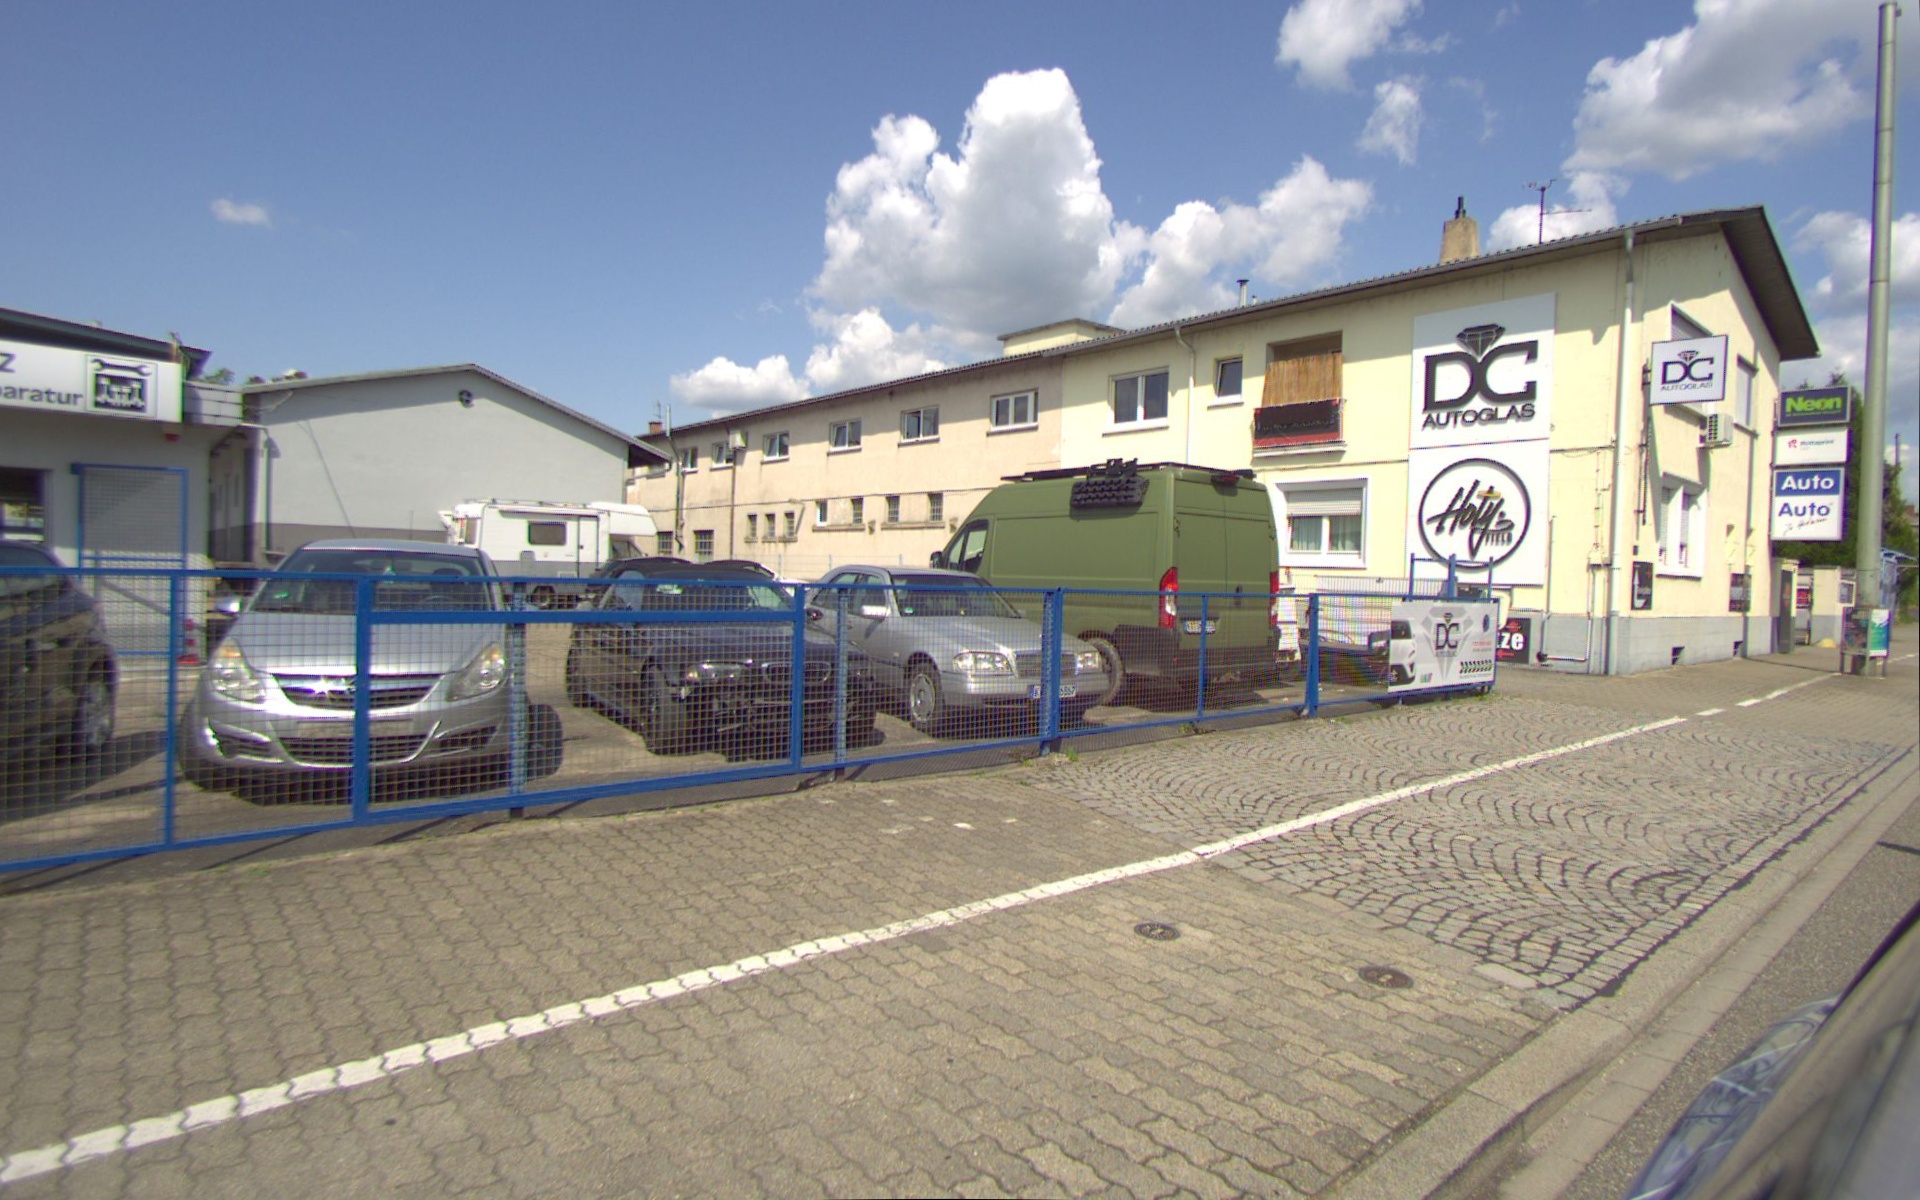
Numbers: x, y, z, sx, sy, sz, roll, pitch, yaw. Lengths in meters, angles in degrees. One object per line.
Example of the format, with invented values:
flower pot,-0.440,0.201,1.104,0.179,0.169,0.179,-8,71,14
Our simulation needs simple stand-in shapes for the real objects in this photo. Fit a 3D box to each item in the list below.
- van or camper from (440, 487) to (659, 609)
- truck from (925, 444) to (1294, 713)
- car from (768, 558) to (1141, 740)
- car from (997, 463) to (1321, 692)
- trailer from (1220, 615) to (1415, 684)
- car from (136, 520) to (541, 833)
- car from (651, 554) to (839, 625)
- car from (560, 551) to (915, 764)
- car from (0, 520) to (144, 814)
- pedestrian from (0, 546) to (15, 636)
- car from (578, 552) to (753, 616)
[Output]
van or camper,-11.009,-1.324,27.361,4.971,2.999,2.284,0,2,-42
truck,1.628,-0.285,12.144,2.033,2.639,3.996,1,2,-40
car,-0.298,0.319,10.198,1.768,1.413,4.216,1,2,-33
car,2.610,-0.346,14.135,1.771,2.702,4.208,1,2,-40
trailer,5.080,0.670,14.521,1.245,0.776,2.330,0,2,-39
car,-3.953,0.301,7.095,1.766,1.497,4.158,1,2,-24
car,-4.938,-0.247,23.524,3.939,1.497,1.719,0,2,-41
car,-2.127,0.310,8.739,1.768,1.403,3.837,1,2,-32
car,-5.749,0.323,5.027,1.685,1.497,4.012,1,2,-25
pedestrian,-13.260,-0.129,13.834,0.479,1.228,0.501,1,1,-42
car,-7.481,-0.411,25.882,3.939,1.497,1.719,0,2,-41
